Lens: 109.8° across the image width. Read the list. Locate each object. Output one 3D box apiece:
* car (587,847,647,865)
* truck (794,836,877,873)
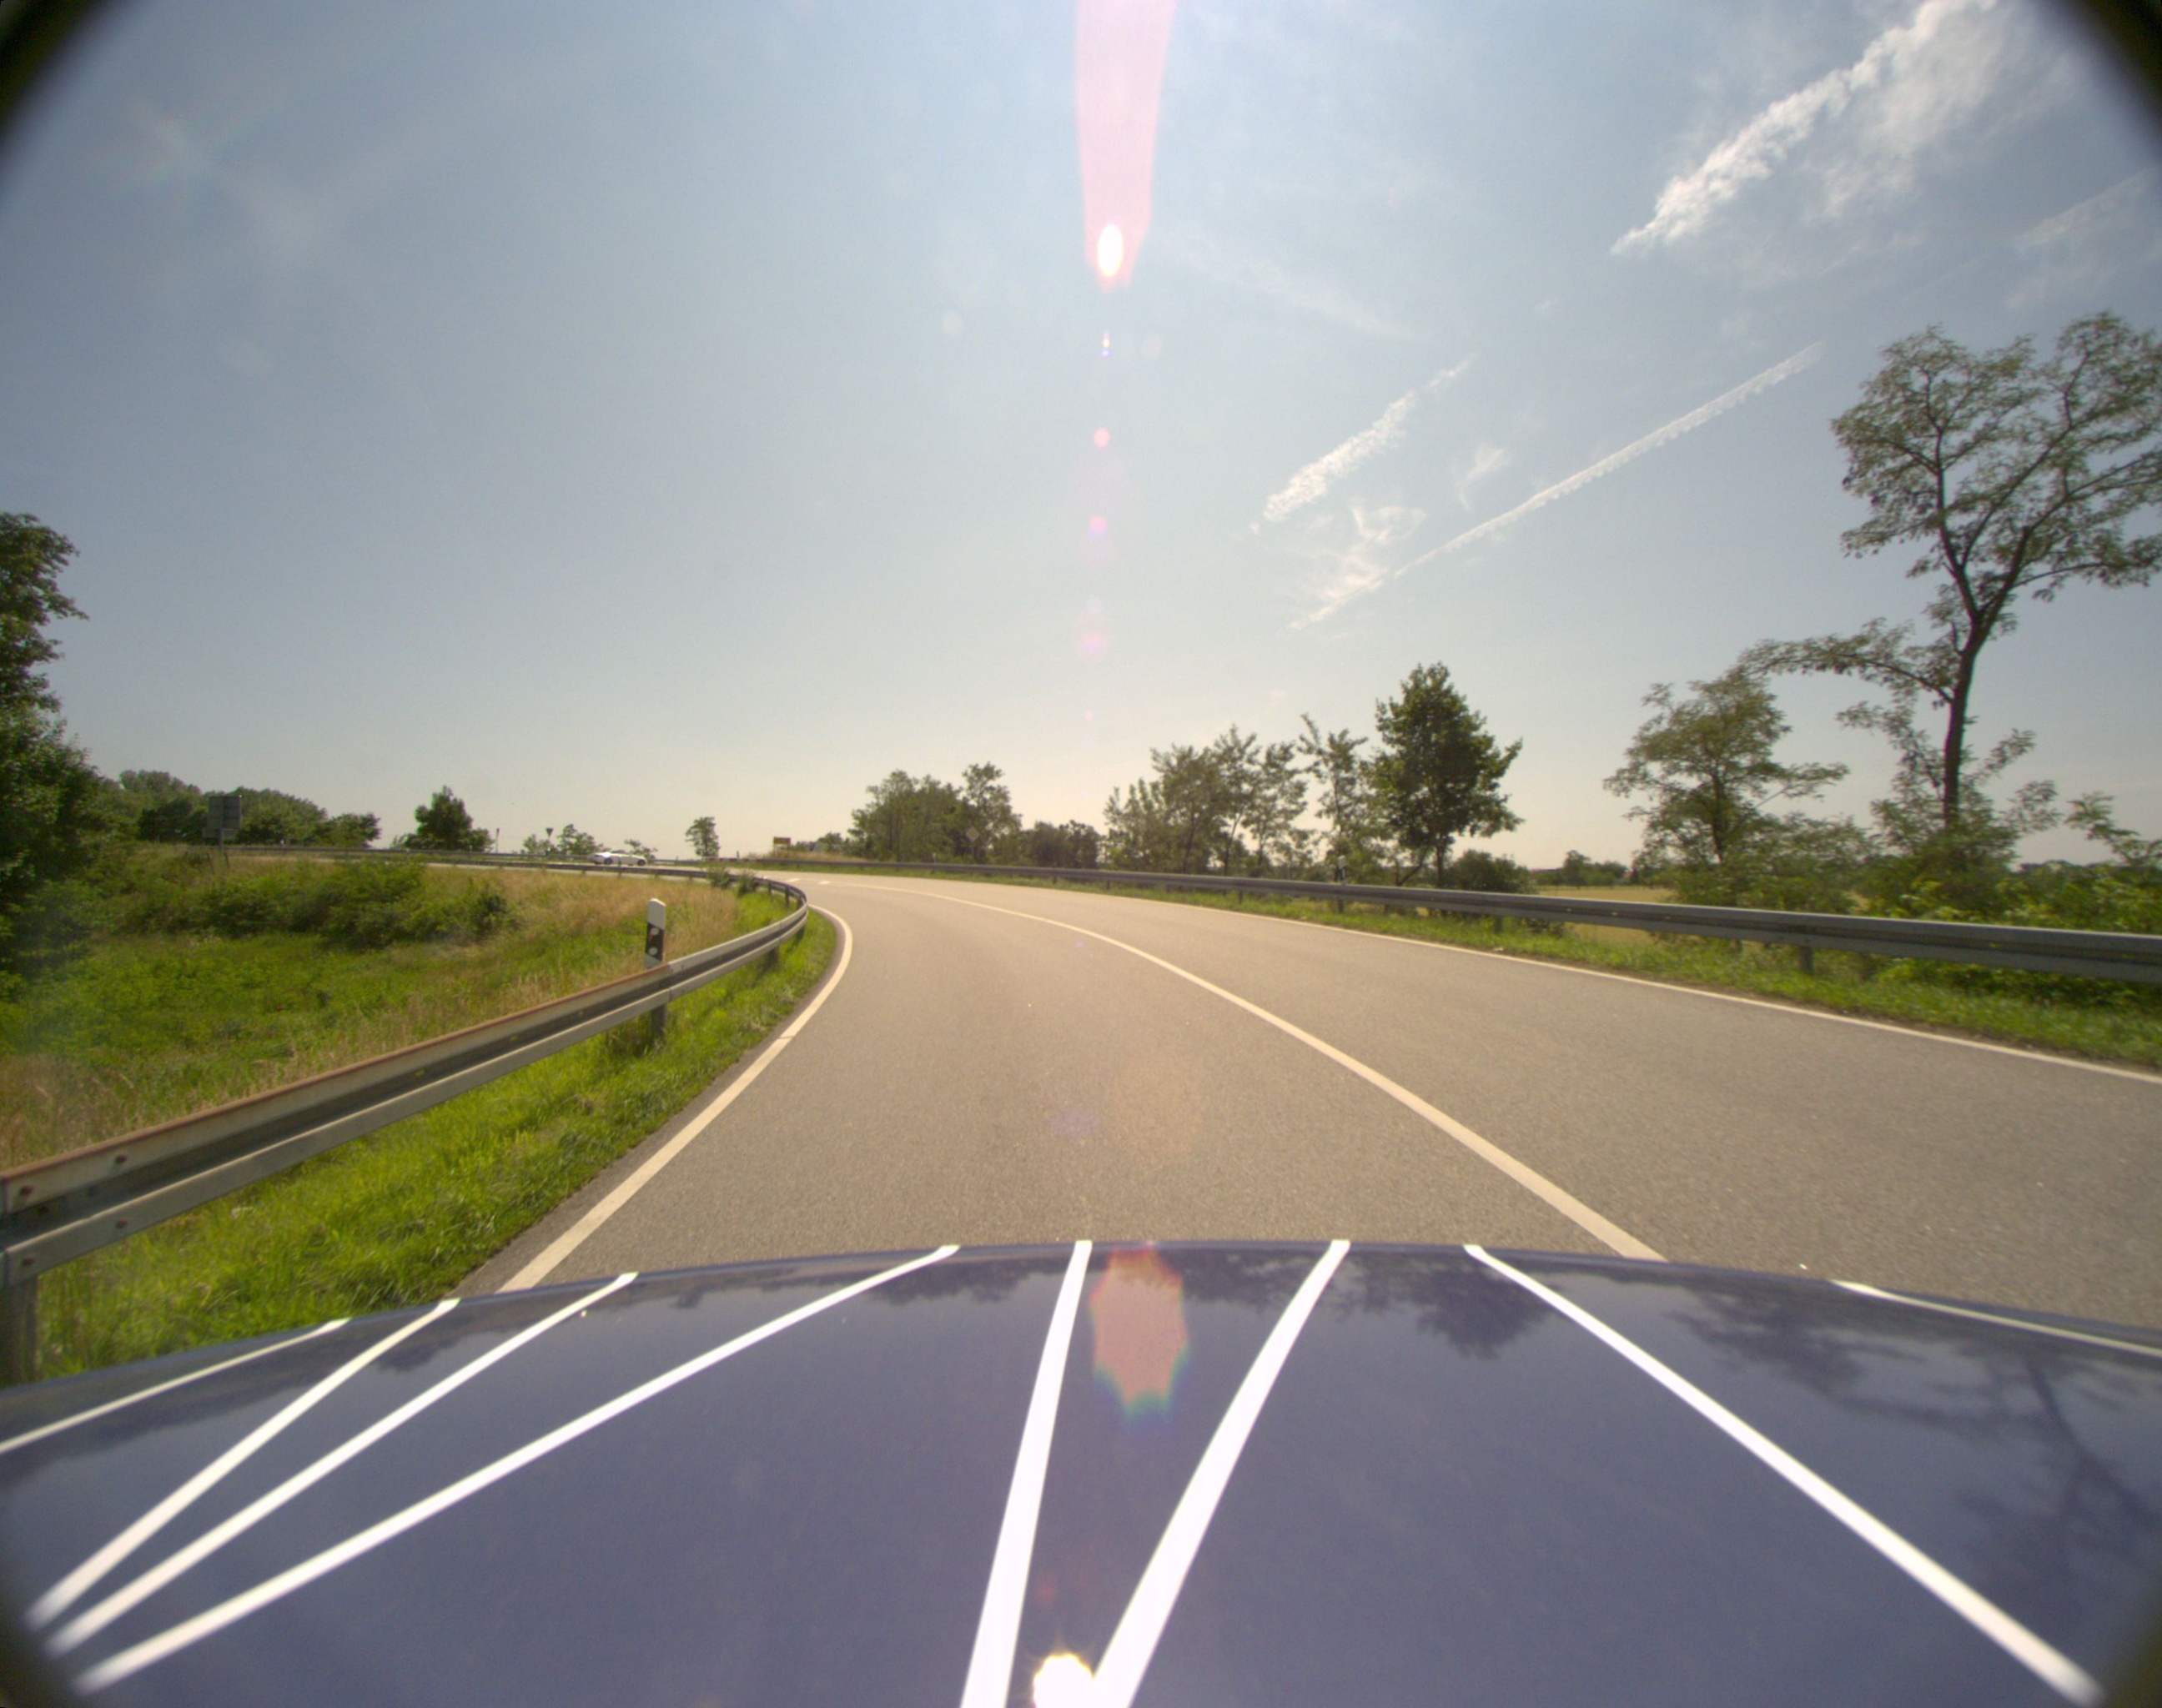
[{"bbox_3d":[-40.327,0.196,66.112,1.810,1.406,4.119,-4,-3,31],"label":"car"},{"bbox_3d":[-28.935,0.154,90.211,2.815,3.645,9.973,-2,-5,29],"label":"truck"}]
